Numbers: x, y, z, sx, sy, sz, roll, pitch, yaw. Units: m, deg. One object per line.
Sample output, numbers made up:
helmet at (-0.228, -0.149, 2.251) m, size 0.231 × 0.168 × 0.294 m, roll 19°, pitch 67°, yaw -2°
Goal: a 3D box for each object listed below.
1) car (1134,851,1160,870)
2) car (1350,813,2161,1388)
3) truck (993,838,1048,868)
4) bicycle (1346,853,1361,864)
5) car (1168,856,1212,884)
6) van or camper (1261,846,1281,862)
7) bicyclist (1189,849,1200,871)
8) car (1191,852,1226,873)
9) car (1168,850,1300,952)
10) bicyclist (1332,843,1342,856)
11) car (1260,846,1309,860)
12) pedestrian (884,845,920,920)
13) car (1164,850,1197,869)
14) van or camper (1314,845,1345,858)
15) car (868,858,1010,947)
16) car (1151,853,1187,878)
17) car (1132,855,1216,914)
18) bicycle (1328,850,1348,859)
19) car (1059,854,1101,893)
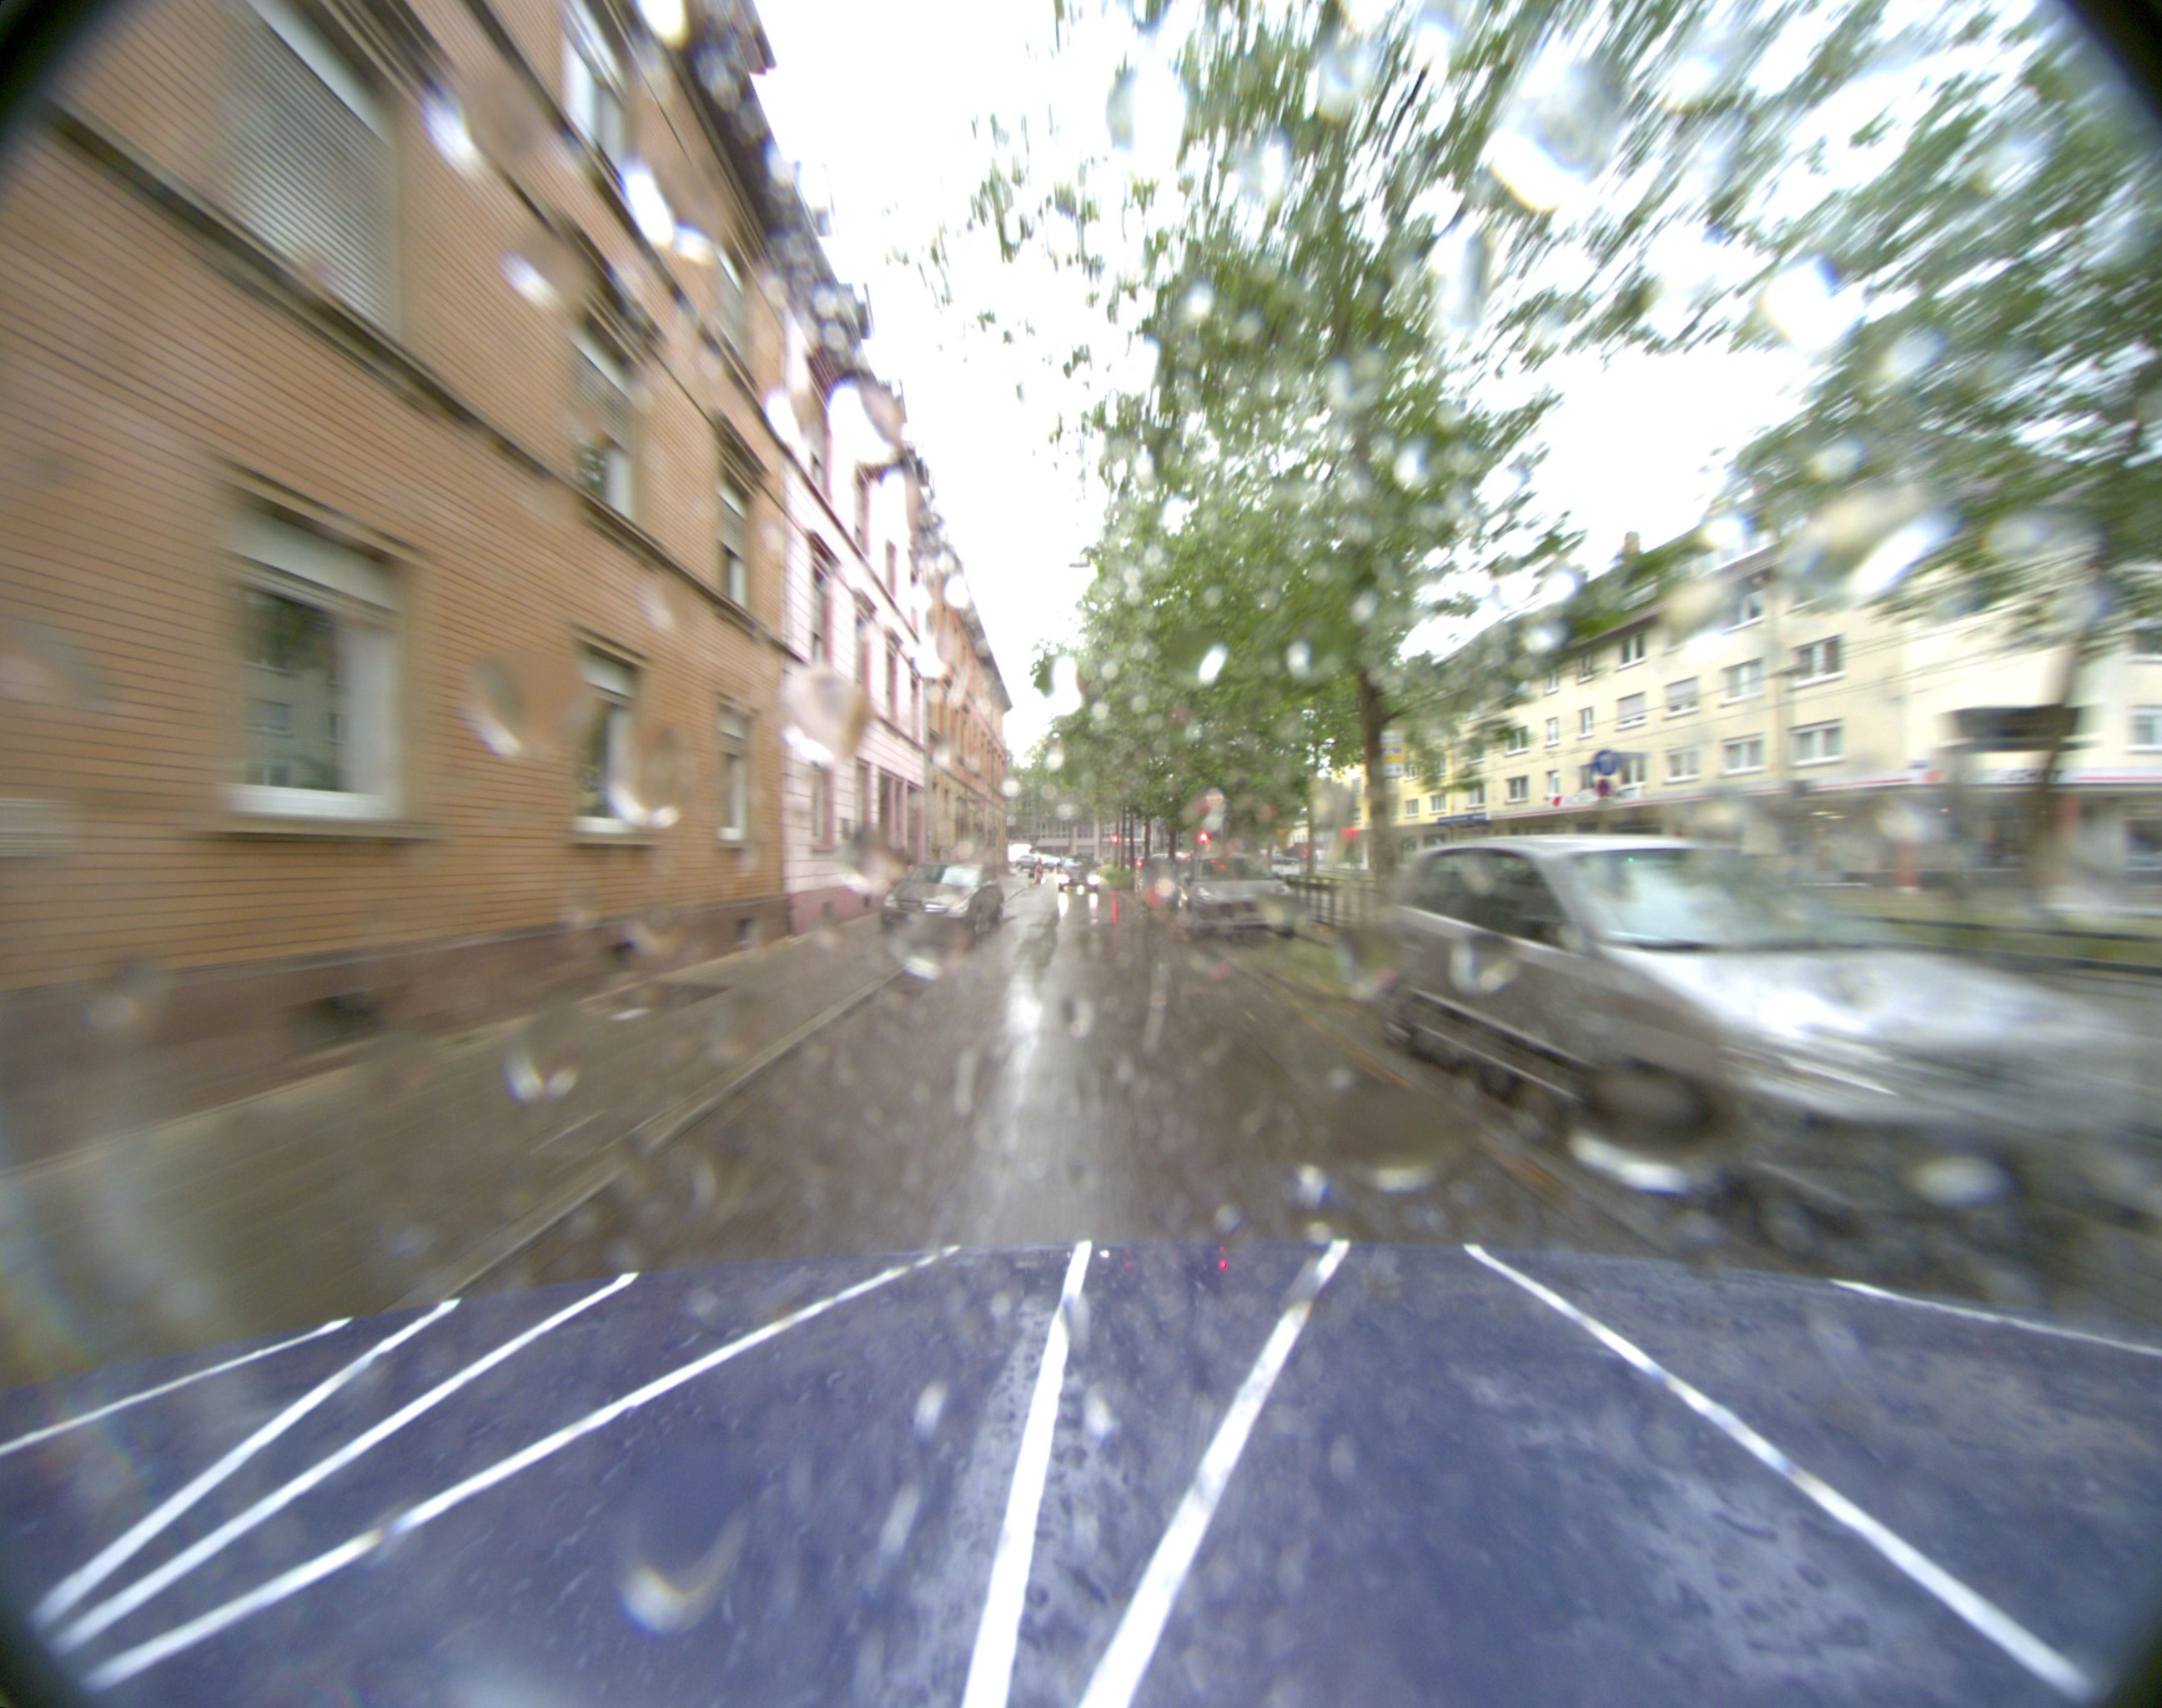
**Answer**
car at (5.381, 0.509, 62.677) m, size 1.739 × 1.480 × 4.500 m, roll -1°, pitch 0°, yaw 0°
car at (3.025, 0.732, 4.109) m, size 1.628 × 1.672 × 3.658 m, roll -2°, pitch 0°, yaw -3°
truck at (-6.843, -0.150, 85.690) m, size 5.855 × 3.152 × 2.699 m, roll 1°, pitch 2°, yaw -11°
bicycle at (24.055, 0.409, 67.094) m, size 0.613 × 0.891 × 2.046 m, roll 0°, pitch 1°, yaw 0°
car at (5.800, 0.816, 40.832) m, size 1.746 × 1.389 × 4.232 m, roll -1°, pitch 0°, yaw 0°
van or camper at (31.234, -0.039, 124.939) m, size 2.177 × 2.457 × 5.980 m, roll 0°, pitch 1°, yaw 24°
bicyclist at (8.969, 0.492, 60.165) m, size 0.714 × 1.706 × 0.889 m, roll 0°, pitch 2°, yaw -1°
car at (8.806, 0.562, 52.825) m, size 1.746 × 1.389 × 4.130 m, roll -1°, pitch 0°, yaw 0°
car at (2.705, 0.745, 14.370) m, size 1.703 × 1.626 × 4.354 m, roll 0°, pitch 0°, yaw 1°
bicyclist at (29.883, -0.539, 88.741) m, size 0.805 × 1.462 × 0.927 m, roll 0°, pitch 2°, yaw -2°
car at (24.338, -0.093, 90.723) m, size 5.338 × 1.583 × 1.946 m, roll -1°, pitch 0°, yaw -12°
pedestrian at (-4.100, 0.634, 17.446) m, size 0.640 × 1.675 × 0.603 m, roll 2°, pitch 1°, yaw -2°
car at (8.358, 0.462, 64.063) m, size 1.879 × 1.493 × 4.282 m, roll -1°, pitch 0°, yaw -5°
van or camper at (42.553, -0.485, 130.138) m, size 4.648 × 2.063 × 2.001 m, roll 1°, pitch 1°, yaw 9°
car at (-2.712, 0.866, 15.692) m, size 1.818 × 1.412 × 4.697 m, roll 3°, pitch 1°, yaw 2°
car at (5.527, 0.710, 48.258) m, size 1.746 × 1.471 × 4.431 m, roll -1°, pitch 0°, yaw 0°
car at (2.697, 0.825, 23.023) m, size 1.833 × 1.495 × 4.612 m, roll -2°, pitch 1°, yaw -1°
bicycle at (30.010, 0.032, 88.753) m, size 1.997 × 1.082 × 0.819 m, roll -1°, pitch 1°, yaw -1°
car at (-0.076, 0.899, 37.253) m, size 1.913 × 1.637 × 4.678 m, roll -1°, pitch 2°, yaw -1°
